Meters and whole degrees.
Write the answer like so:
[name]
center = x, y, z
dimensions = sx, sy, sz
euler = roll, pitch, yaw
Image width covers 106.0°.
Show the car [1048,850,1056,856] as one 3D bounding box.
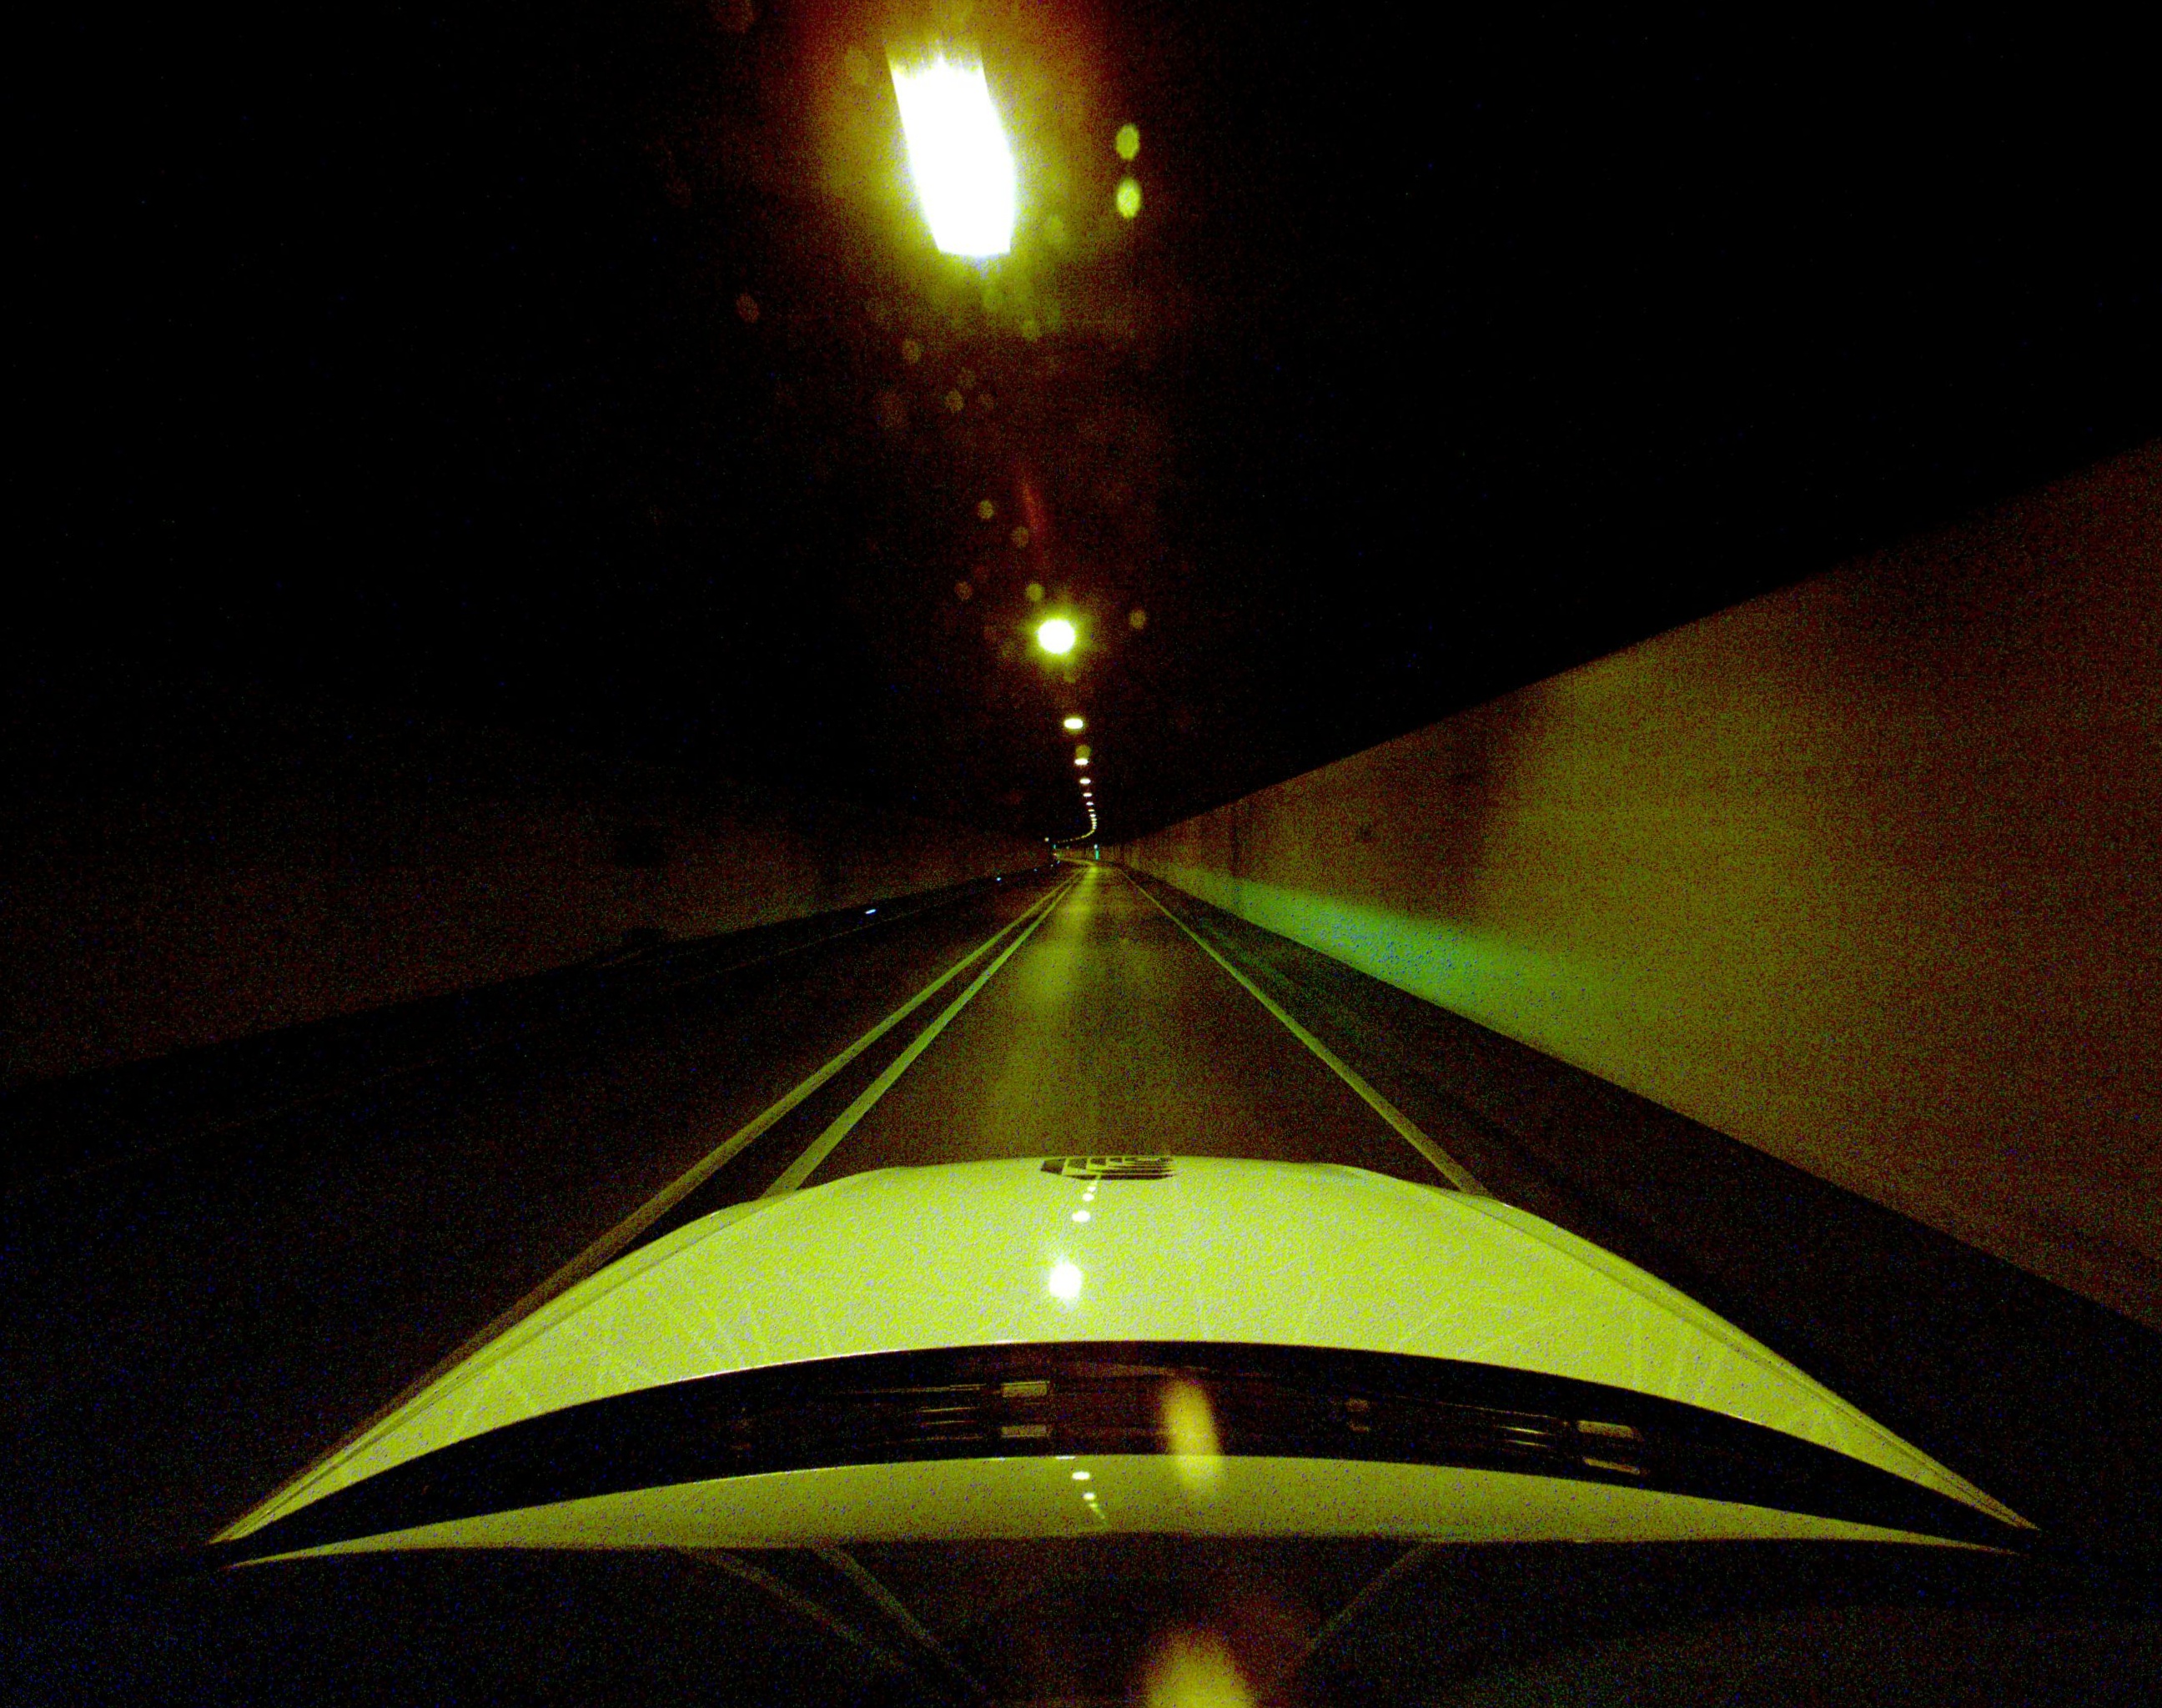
[car]
center = -9.078, -0.328, 257.967
dimensions = 1.966, 1.939, 4.598
euler = 0, -1, -9
